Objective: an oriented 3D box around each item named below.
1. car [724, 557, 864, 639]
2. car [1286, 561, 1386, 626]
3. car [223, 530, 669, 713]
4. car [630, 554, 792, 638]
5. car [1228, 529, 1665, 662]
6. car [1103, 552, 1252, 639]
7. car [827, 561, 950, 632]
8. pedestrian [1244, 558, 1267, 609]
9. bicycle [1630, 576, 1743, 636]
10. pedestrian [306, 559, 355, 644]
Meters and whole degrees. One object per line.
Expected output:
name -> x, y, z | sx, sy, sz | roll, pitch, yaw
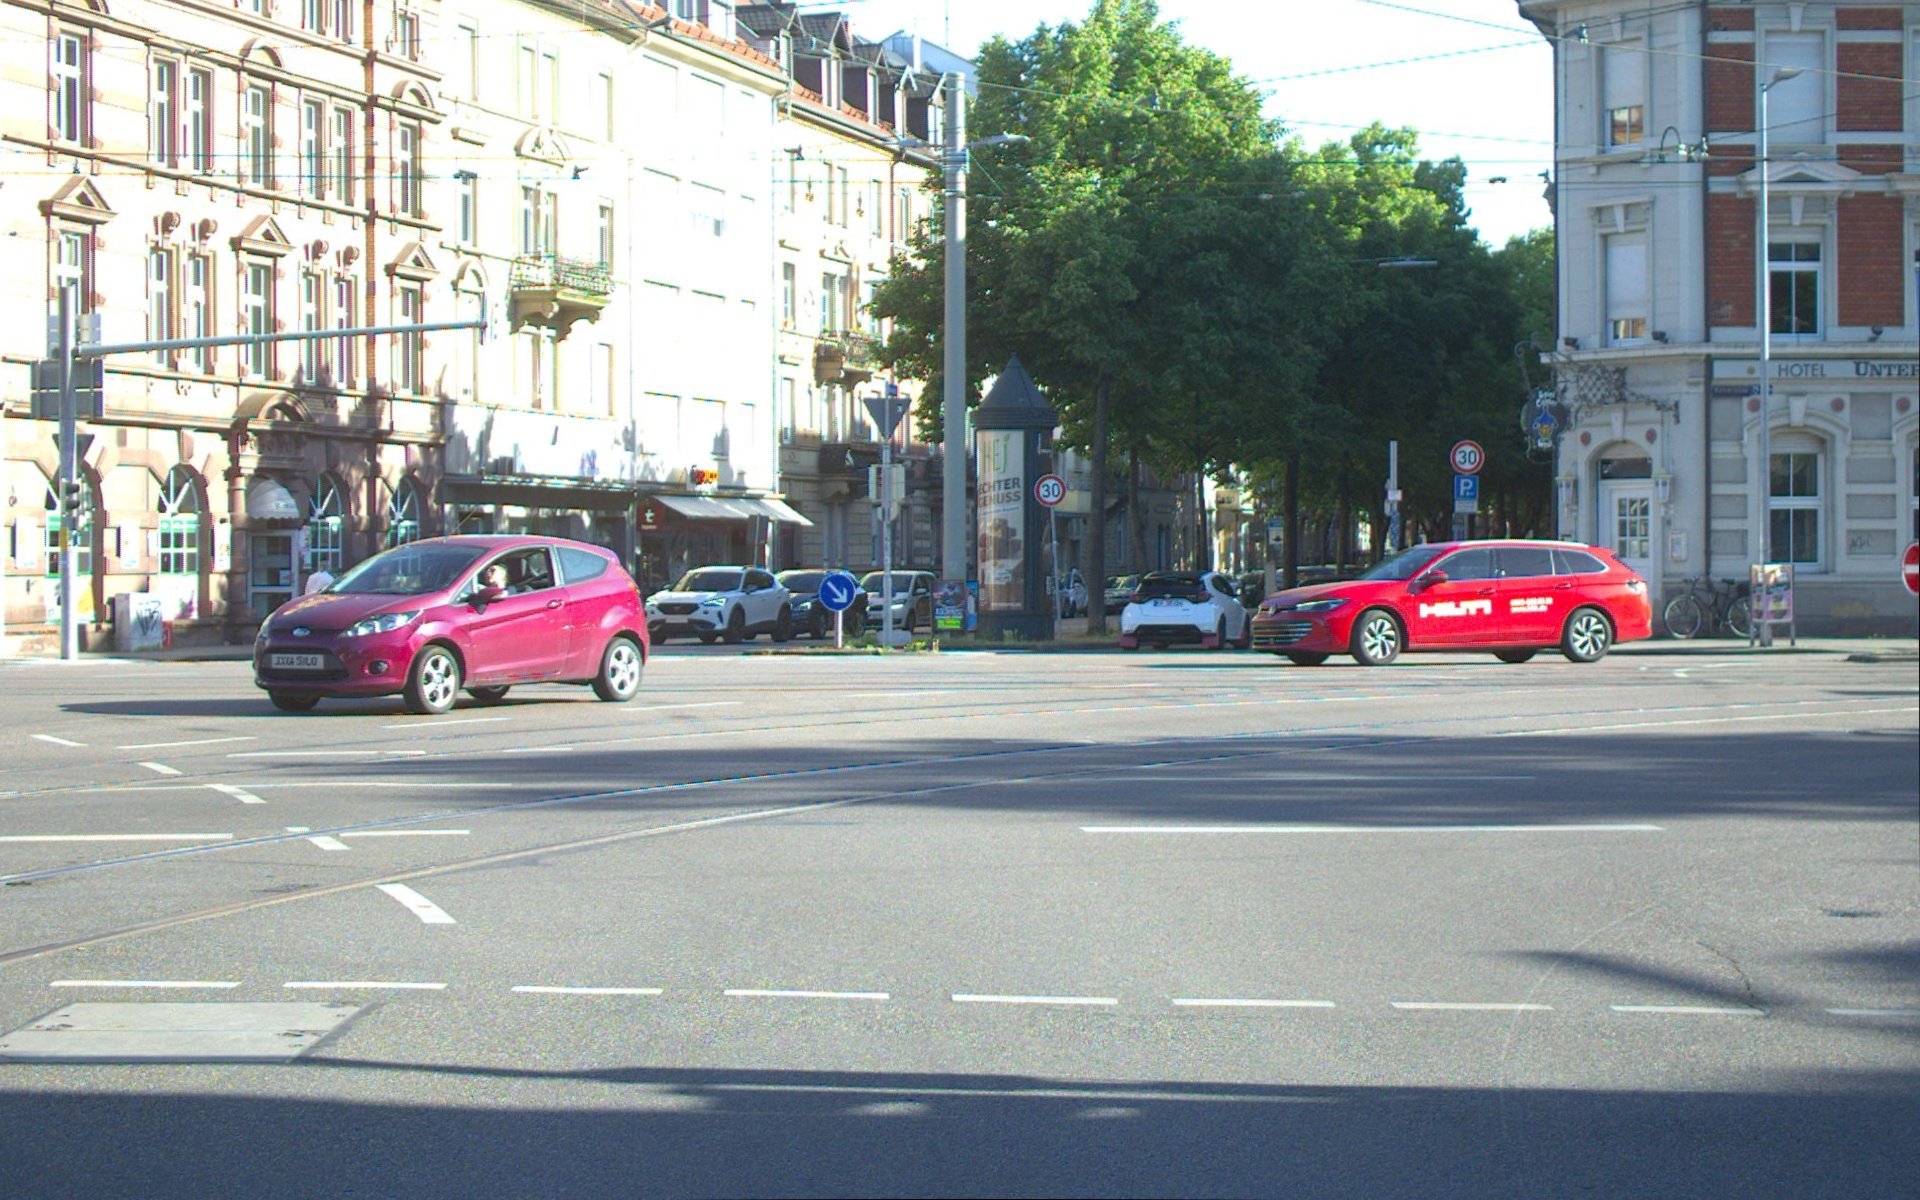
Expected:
car -> -3.521, -0.064, 73.580 | 1.826, 1.679, 3.872 | 1, 1, 16
car -> 8.480, -0.172, 77.336 | 1.826, 1.398, 3.998 | 0, 1, 12
car -> -4.286, 0.127, 29.201 | 1.593, 1.421, 3.875 | 1, 2, 33
car -> -4.834, -0.092, 67.287 | 1.804, 1.579, 4.156 | 1, 1, 17
car -> 5.756, -0.090, 40.690 | 4.857, 1.464, 1.804 | -1, 2, -22
car -> 3.989, -0.103, 62.501 | 1.893, 1.449, 4.006 | 0, 2, 16
car -> -1.616, -0.089, 79.511 | 1.804, 1.570, 3.888 | 1, 1, 15
pedestrian -> 11.901, -0.667, 138.559 | 0.752, 2.007, 0.998 | 1, 0, 13
bicycle -> 12.072, 0.098, 57.129 | 1.804, 0.959, 0.603 | 1, 0, 14
pedestrian -> -12.164, 0.025, 66.480 | 0.568, 1.636, 0.792 | 1, 0, 23
